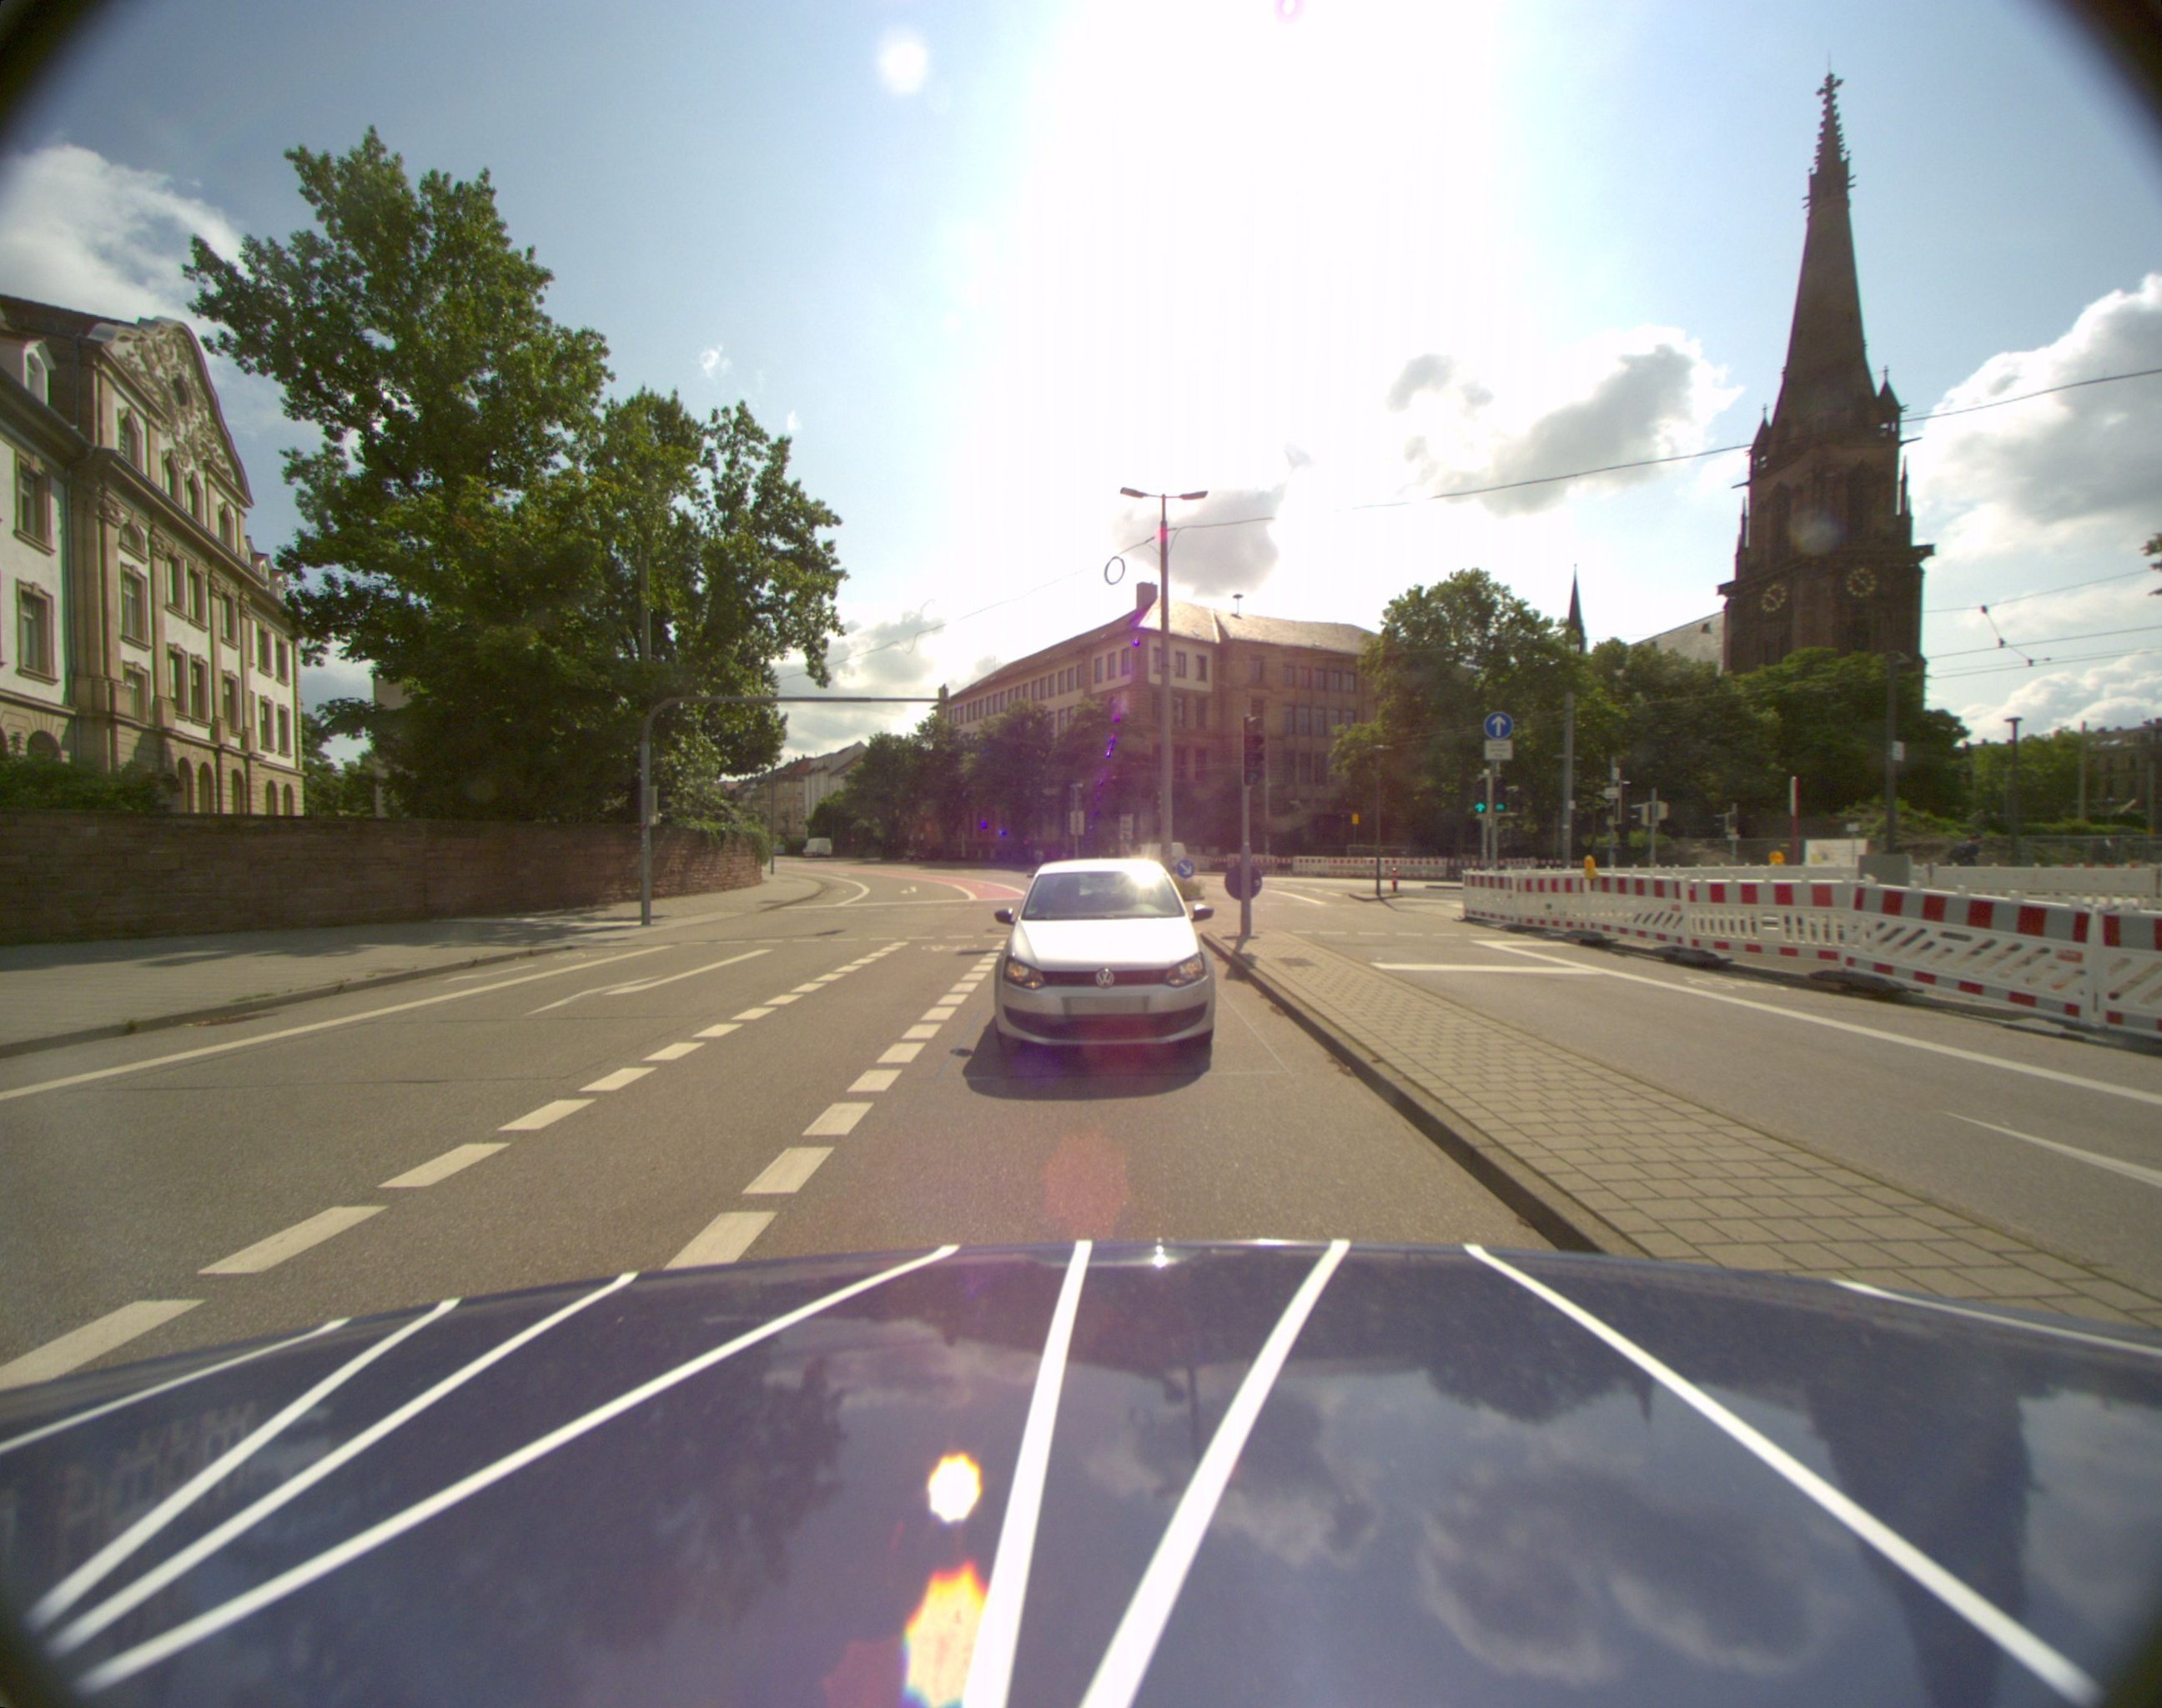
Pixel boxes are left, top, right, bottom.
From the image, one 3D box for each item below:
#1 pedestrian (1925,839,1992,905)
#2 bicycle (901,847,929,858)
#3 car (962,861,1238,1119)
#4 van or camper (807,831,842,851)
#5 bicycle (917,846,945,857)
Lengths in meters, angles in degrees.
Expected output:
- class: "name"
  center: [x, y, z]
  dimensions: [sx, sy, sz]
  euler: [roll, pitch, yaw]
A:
- class: "pedestrian"
  center: [22.973, 0.449, 19.895]
  dimensions: [1.209, 1.696, 0.840]
  euler: [0, 1, -26]
- class: "bicycle"
  center: [-19.242, -0.226, 88.121]
  dimensions: [2.891, 1.201, 1.073]
  euler: [0, 4, 9]
- class: "car"
  center: [0.145, 0.866, 6.691]
  dimensions: [1.655, 1.434, 4.004]
  euler: [-2, 1, 1]
- class: "van or camper"
  center: [-34.946, -1.751, 103.420]
  dimensions: [2.981, 2.587, 6.740]
  euler: [0, 1, -33]
- class: "bicycle"
  center: [-16.951, -0.260, 85.830]
  dimensions: [2.891, 1.201, 1.050]
  euler: [0, 4, 9]
